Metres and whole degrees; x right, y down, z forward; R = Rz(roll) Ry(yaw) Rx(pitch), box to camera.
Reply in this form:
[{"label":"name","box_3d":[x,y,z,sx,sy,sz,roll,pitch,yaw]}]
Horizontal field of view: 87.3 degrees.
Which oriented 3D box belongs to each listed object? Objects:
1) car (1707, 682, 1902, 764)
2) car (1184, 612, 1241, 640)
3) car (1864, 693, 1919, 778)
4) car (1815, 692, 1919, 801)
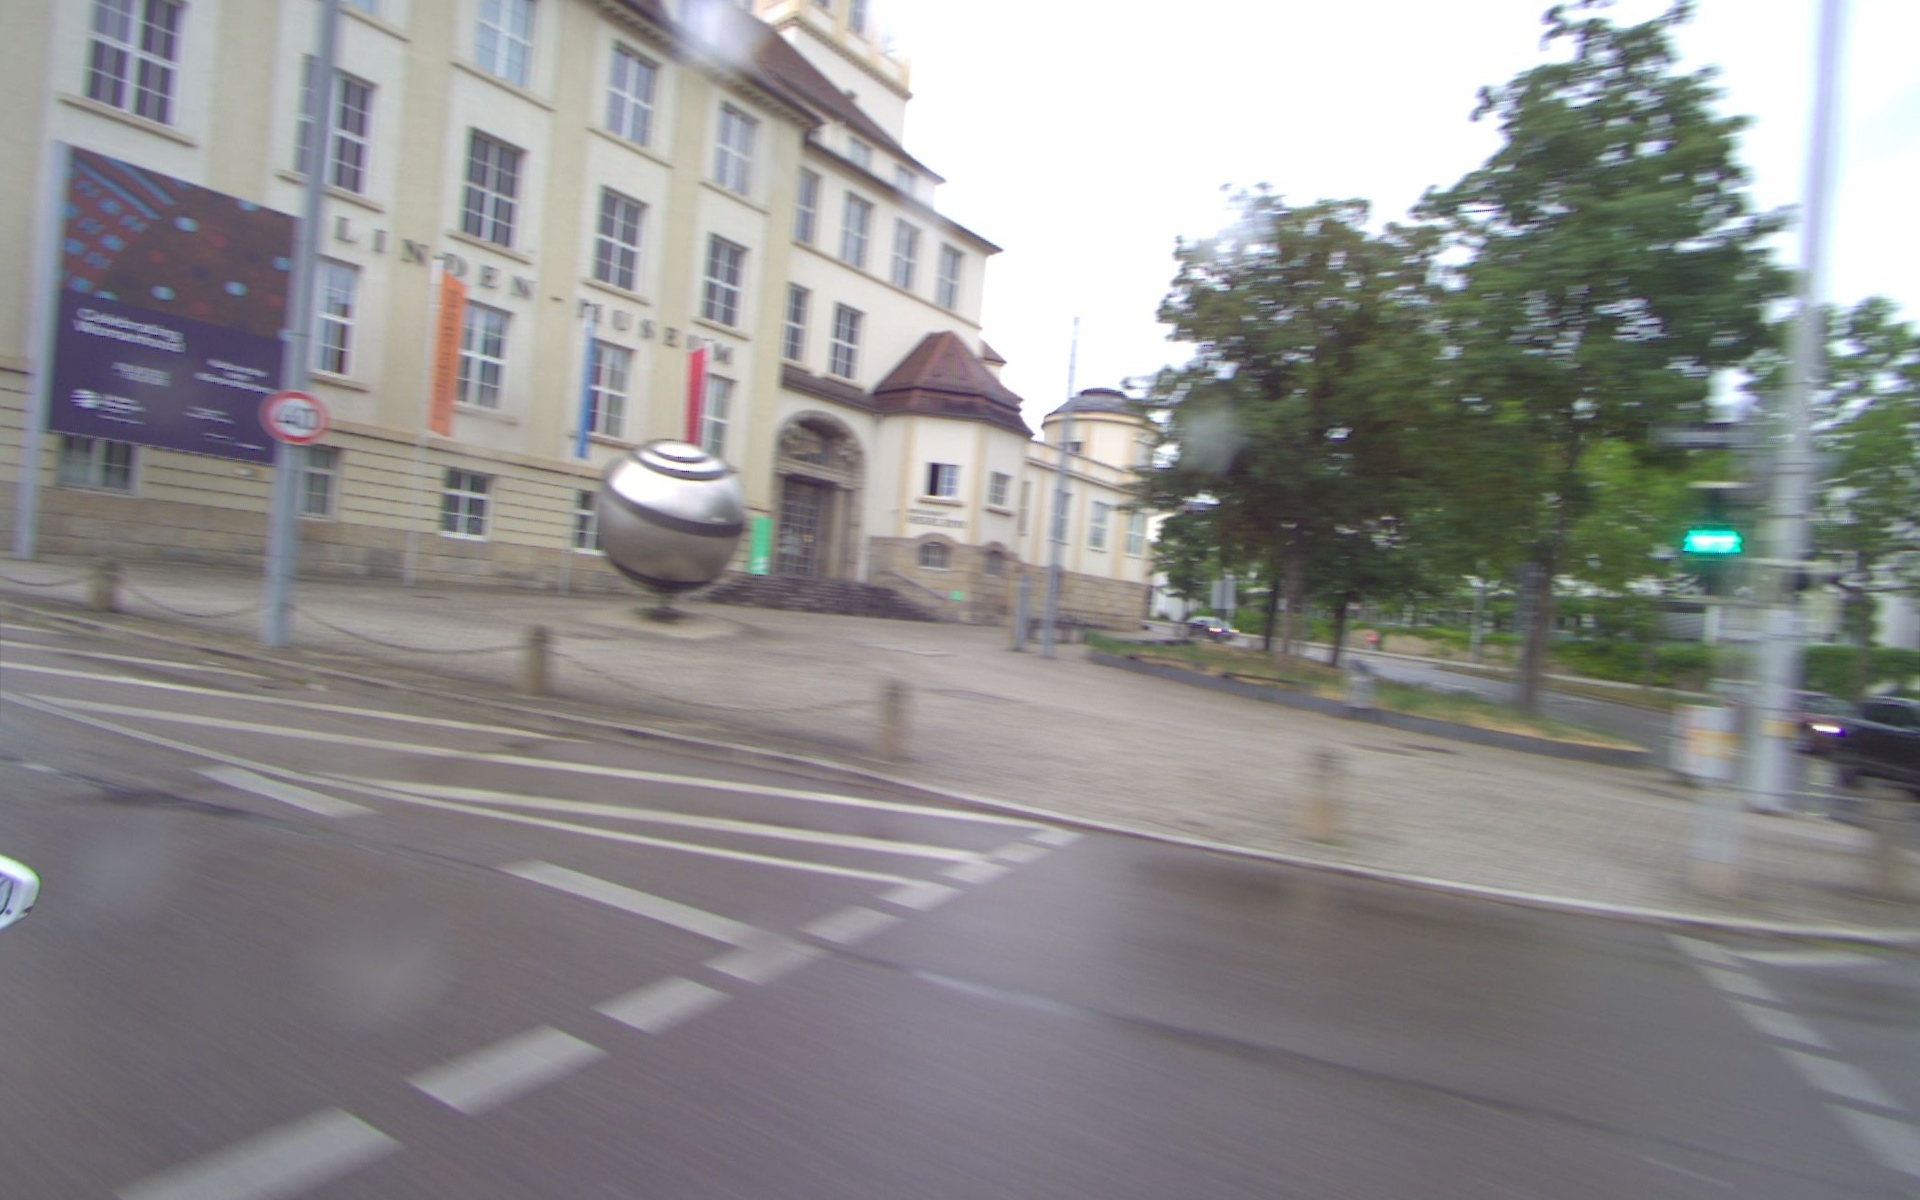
[{"label":"car","box_3d":[21.162,3.022,25.451,1.760,1.459,4.001,6,0,7]},{"label":"car","box_3d":[16.471,1.688,65.792,1.766,1.459,3.988,5,0,-15]},{"label":"car","box_3d":[20.154,2.850,19.529,1.760,1.605,4.001,6,0,7]},{"label":"car","box_3d":[16.823,2.588,16.861,1.838,1.584,4.276,5,0,11]}]
